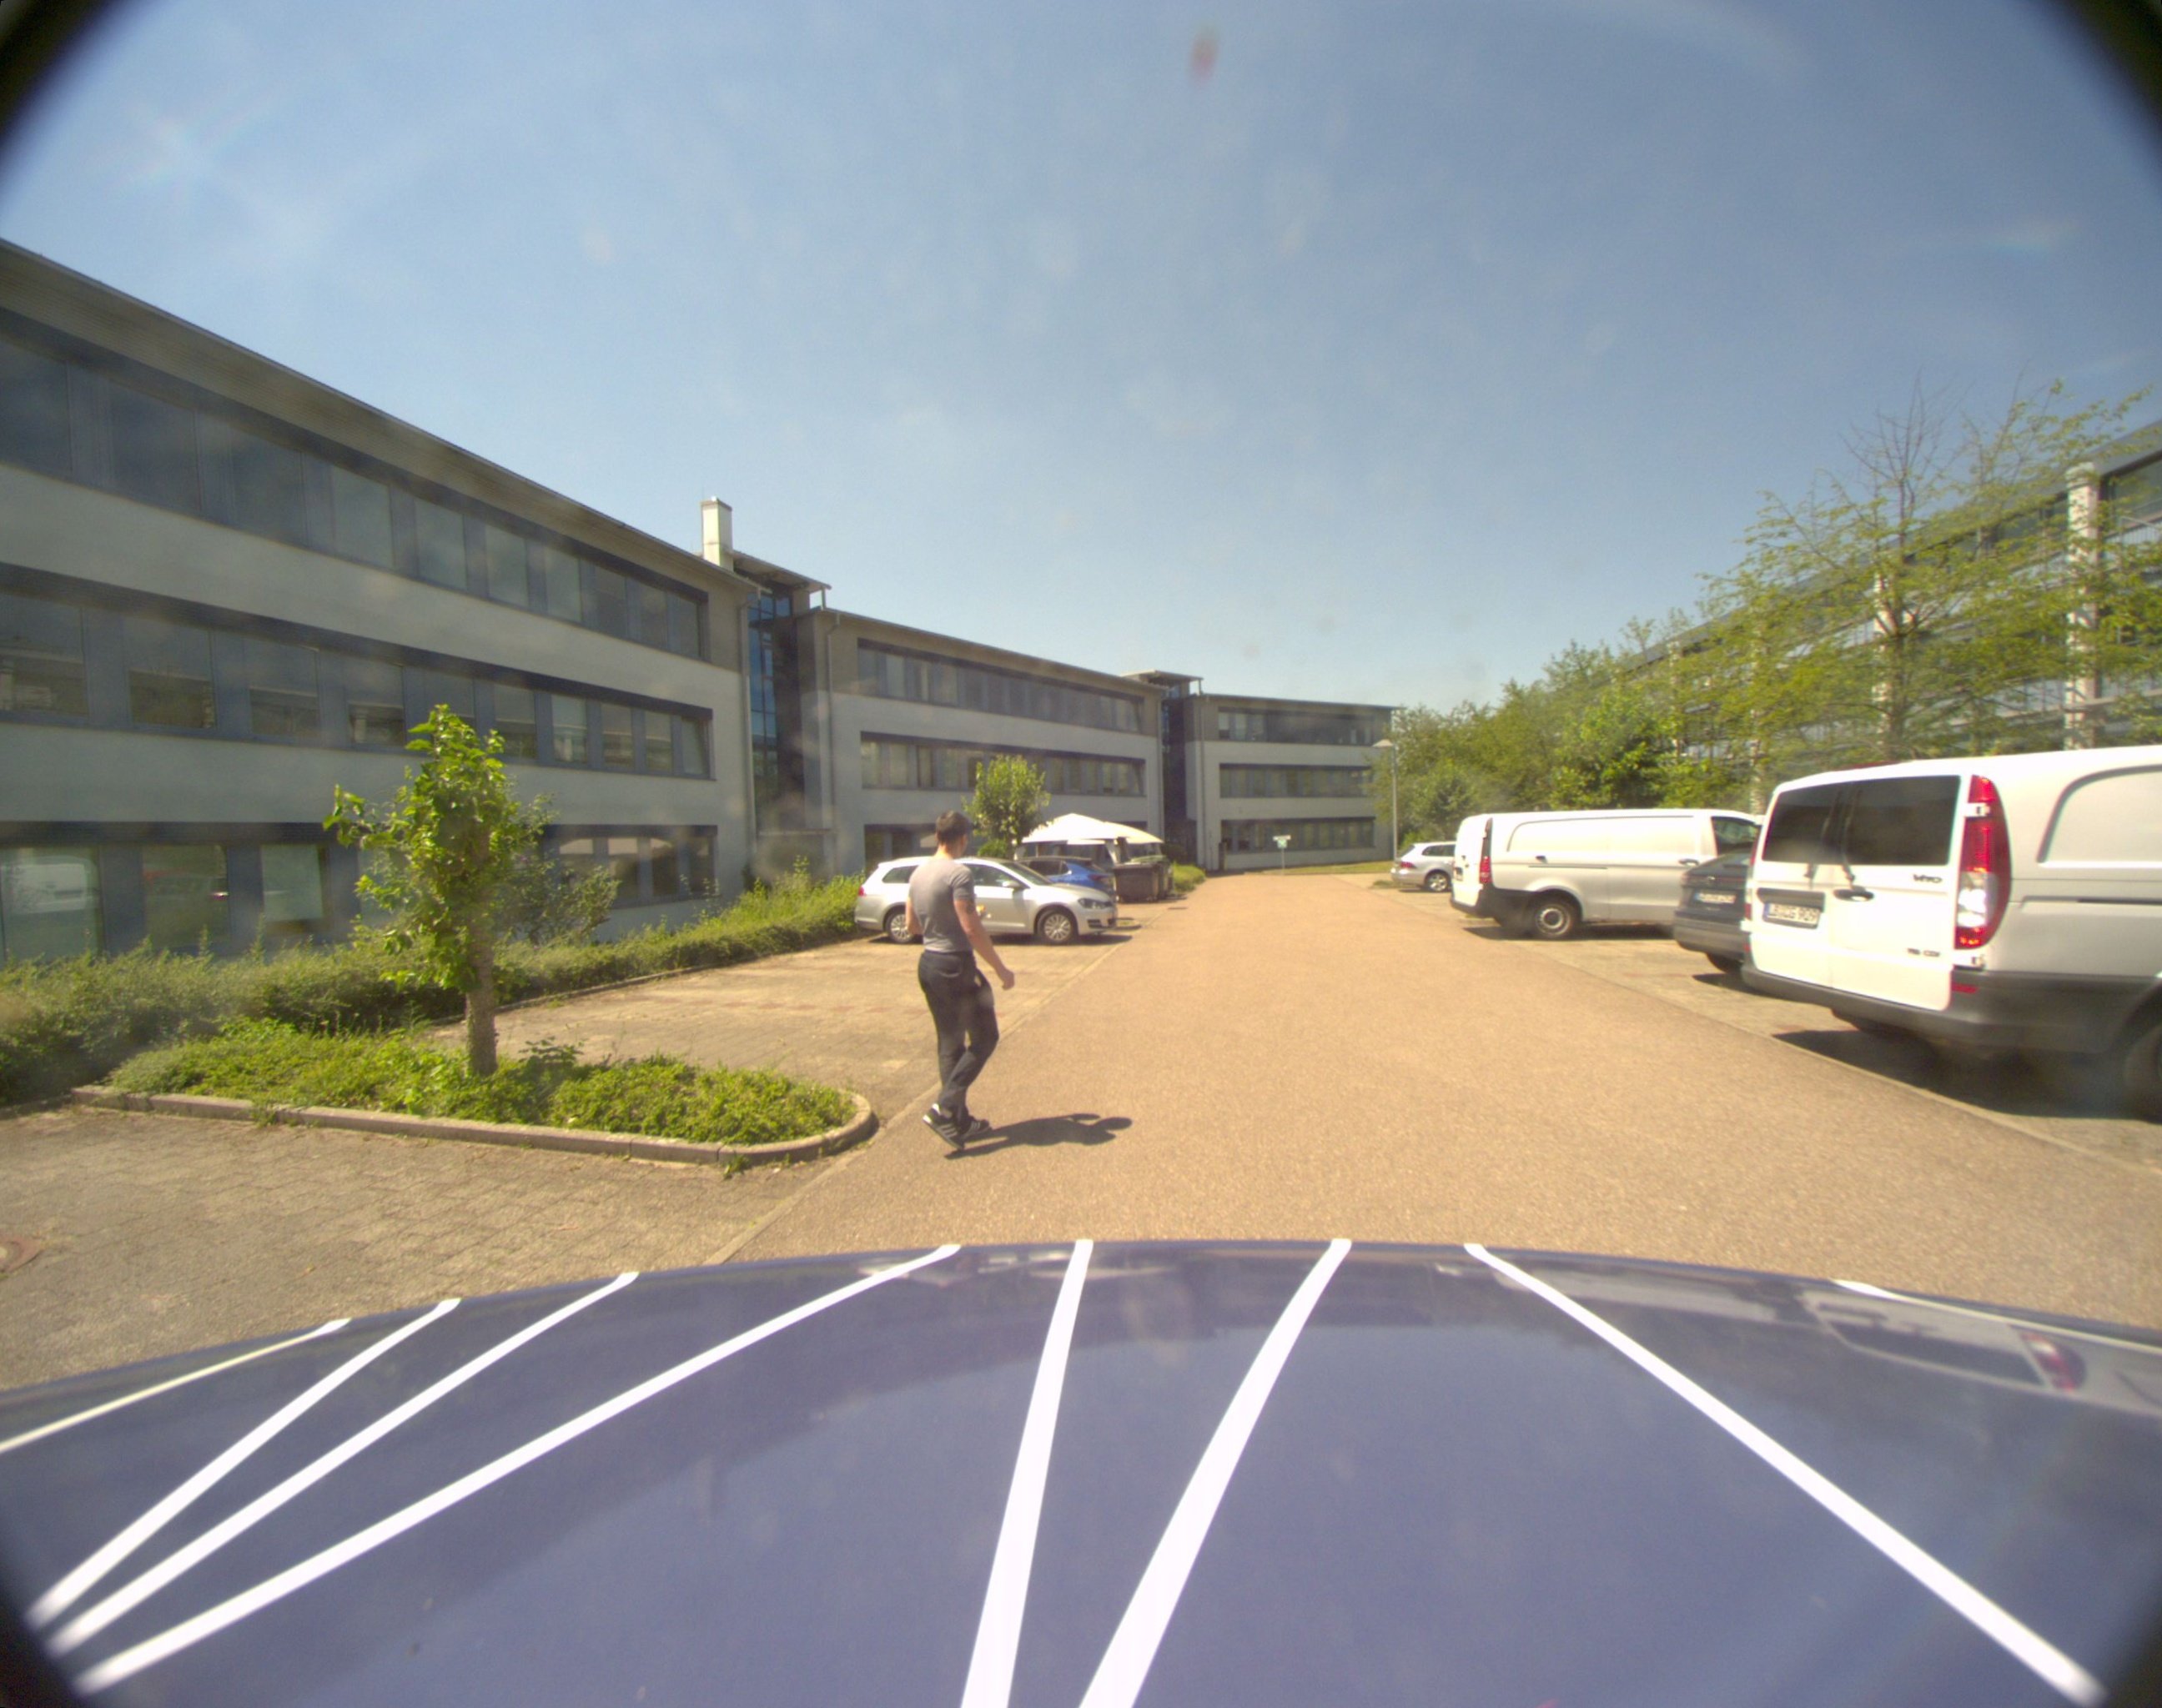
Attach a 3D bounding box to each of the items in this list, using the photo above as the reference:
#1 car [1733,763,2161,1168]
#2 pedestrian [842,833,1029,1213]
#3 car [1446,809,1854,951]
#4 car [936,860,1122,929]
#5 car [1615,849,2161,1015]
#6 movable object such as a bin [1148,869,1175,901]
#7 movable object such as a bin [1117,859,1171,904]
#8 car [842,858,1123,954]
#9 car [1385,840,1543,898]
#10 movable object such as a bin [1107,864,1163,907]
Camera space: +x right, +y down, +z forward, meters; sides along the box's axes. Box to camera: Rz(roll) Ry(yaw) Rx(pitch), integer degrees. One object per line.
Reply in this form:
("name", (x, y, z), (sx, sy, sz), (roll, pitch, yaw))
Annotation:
("car", (6.856, 0.472, 4.135), (4.728, 1.895, 1.831), (-1, 1, 11))
("pedestrian", (-0.715, 0.777, 3.934), (0.617, 1.747, 0.789), (-1, 1, 15))
("car", (8.128, 0.382, 11.314), (4.513, 1.871, 1.830), (-1, 1, 11))
("car", (-1.091, 0.839, 16.862), (3.821, 1.384, 1.653), (0, 1, 11))
("car", (7.789, 0.697, 7.466), (3.845, 1.385, 1.578), (-1, 1, 11))
("movable object such as a bin", (2.500, 0.968, 23.566), (0.690, 0.944, 0.723), (-1, 1, 17))
("movable object such as a bin", (1.900, 0.805, 22.770), (1.362, 1.288, 1.044), (-1, 1, 17))
("car", (-1.632, 0.839, 13.287), (4.513, 1.488, 1.830), (0, 1, 11))
("car", (10.966, 0.425, 21.996), (3.759, 1.549, 1.662), (-1, 1, 11))
("movable object such as a bin", (1.559, 0.898, 21.775), (1.362, 1.182, 0.998), (-1, 1, 17))
